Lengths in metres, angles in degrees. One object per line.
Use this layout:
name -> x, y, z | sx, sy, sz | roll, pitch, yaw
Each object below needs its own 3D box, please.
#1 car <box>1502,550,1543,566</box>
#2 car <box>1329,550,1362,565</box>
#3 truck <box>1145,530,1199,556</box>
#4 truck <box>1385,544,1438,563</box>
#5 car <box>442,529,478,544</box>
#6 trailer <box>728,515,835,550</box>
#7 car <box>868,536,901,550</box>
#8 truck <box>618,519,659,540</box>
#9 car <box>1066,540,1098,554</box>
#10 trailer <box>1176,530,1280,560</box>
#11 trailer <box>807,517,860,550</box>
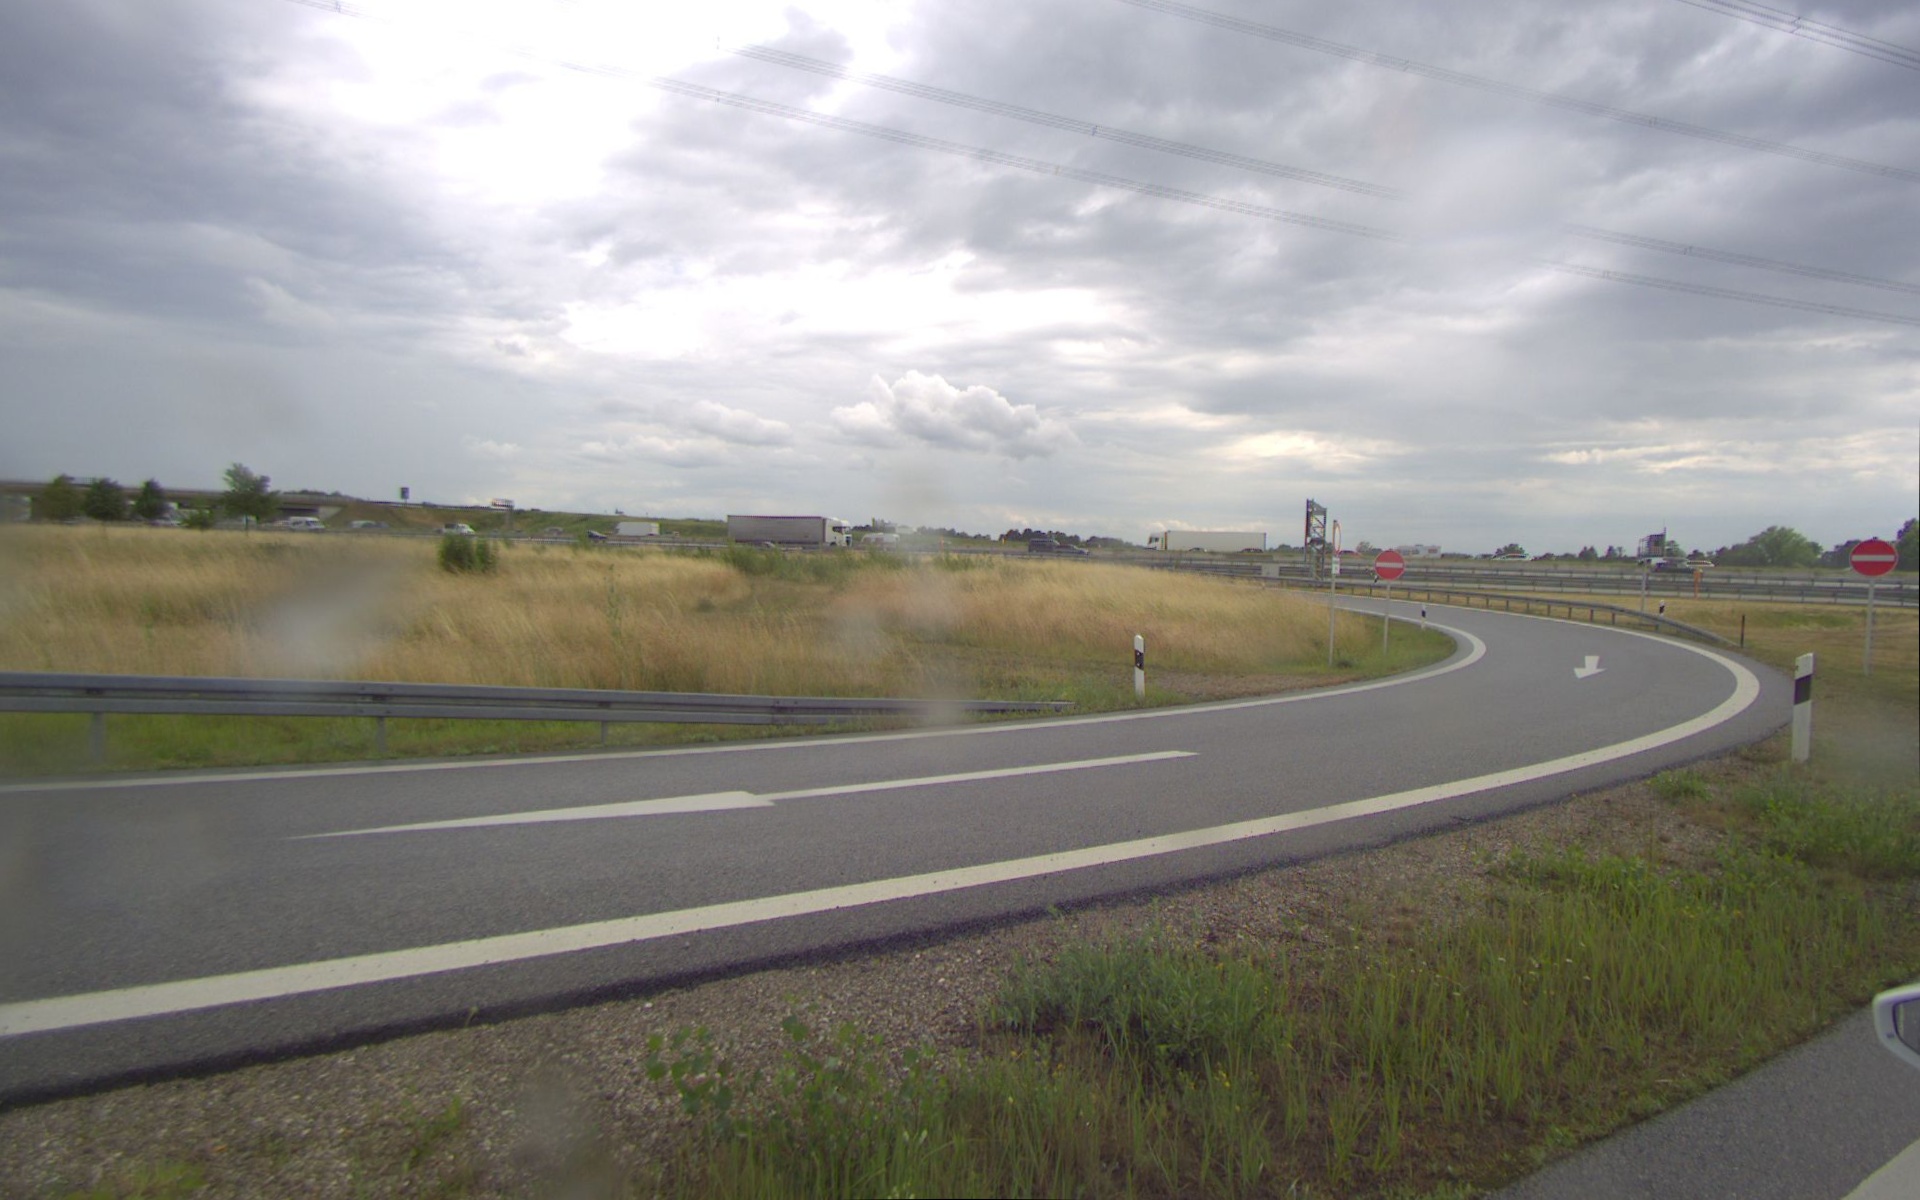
car -> 66.462, -4.938, 118.740 | 3.922, 1.874, 1.891 | 1, 3, 21
car -> 49.140, -5.375, 128.078 | 3.922, 1.874, 1.891 | 1, 3, 21
truck -> 30.342, -8.160, 143.813 | 7.233, 3.589, 2.824 | 3, 4, 18
truck -> 60.036, -6.179, 133.770 | 6.184, 2.534, 2.000 | 1, 3, 19
car -> -72.975, -9.260, 146.658 | 4.680, 1.958, 2.000 | 3, 3, 16
trailer -> -22.374, -8.445, 125.398 | 13.388, 3.834, 2.858 | 3, 4, 19
car -> -11.917, -8.974, 158.364 | 4.661, 2.041, 1.999 | 1, 3, 20
truck -> -55.400, -12.083, 173.051 | 6.968, 3.518, 1.999 | 1, 3, 19
car -> 16.359, -7.054, 134.614 | 3.922, 1.874, 1.891 | 1, 3, 21
trailer -> 37.695, -7.832, 141.340 | 13.822, 3.721, 2.858 | 3, 4, 19
trailer -> -15.526, -8.130, 123.070 | 5.780, 3.835, 2.848 | 3, 4, 19
